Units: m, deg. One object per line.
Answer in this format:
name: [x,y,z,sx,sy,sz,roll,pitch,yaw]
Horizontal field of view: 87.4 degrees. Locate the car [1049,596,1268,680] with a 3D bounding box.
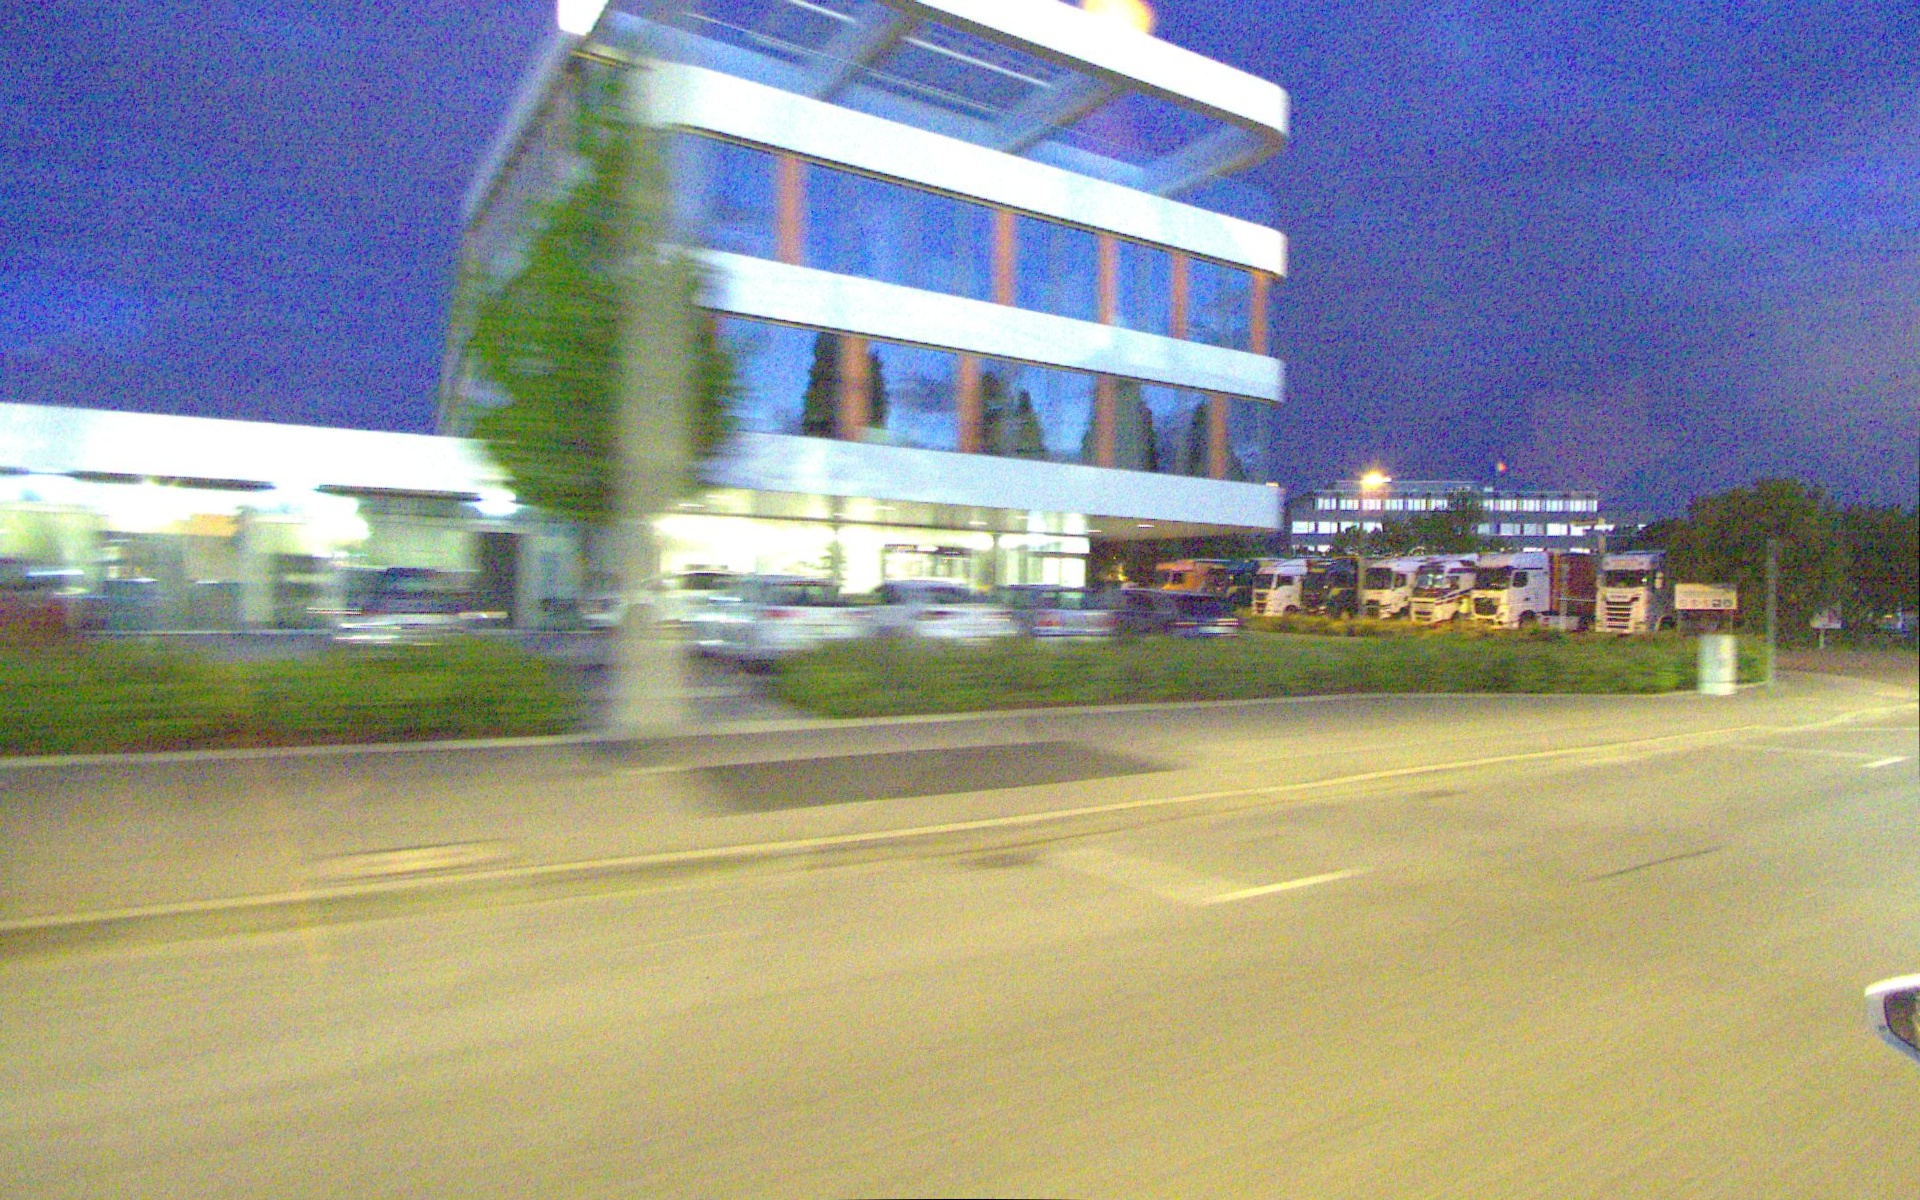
car: [3.794,0.677,20.043,2.034,1.471,4.434,1,0,-25]

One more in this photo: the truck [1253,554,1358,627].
truck: [22.019,-0.573,64.081,5.474,4.416,3.058,1,1,-16]

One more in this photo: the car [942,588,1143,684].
car: [1.430,0.604,18.960,1.819,1.600,4.114,1,0,-29]

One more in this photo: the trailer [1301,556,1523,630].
trailer: [29.907,-0.392,66.319,14.754,4.416,3.058,1,1,-16]

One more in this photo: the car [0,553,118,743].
car: [-11.068,0.462,11.009,1.938,1.840,4.385,1,-1,-29]

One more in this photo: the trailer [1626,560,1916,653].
trailer: [38.512,0.372,47.549,14.765,3.985,3.056,1,1,-18]

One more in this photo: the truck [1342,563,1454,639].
truck: [26.596,0.055,61.069,5.474,4.416,3.058,1,1,-16]

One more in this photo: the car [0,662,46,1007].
car: [-5.578,0.919,2.677,4.309,1.389,1.806,1,-2,-30]

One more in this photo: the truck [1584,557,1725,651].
truck: [31.157,0.178,45.133,4.432,3.985,3.055,1,1,-18]

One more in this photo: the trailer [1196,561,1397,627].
trailer: [24.788,-0.413,73.801,14.754,4.416,3.058,1,1,-16]

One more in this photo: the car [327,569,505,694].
car: [-7.318,0.365,13.600,1.805,1.412,4.248,1,0,-29]

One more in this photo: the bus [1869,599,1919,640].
bus: [80.084,1.575,81.669,12.463,3.247,3.012,0,0,-16]

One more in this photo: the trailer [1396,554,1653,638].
trailer: [33.043,-0.175,58.770,14.743,4.416,3.060,1,1,-13]

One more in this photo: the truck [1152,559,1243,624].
truck: [16.868,-0.573,71.550,5.474,4.416,3.058,1,1,-16]

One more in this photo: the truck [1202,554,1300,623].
truck: [19.575,-0.742,67.631,5.474,4.416,3.058,1,1,-16]

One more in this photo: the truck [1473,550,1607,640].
truck: [28.688,-0.263,49.788,4.848,4.204,3.061,1,1,-11]

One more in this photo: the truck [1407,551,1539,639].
truck: [27.254,-0.242,53.458,5.469,4.416,3.060,1,1,-12]

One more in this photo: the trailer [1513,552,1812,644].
trailer: [35.830,-0.045,51.230,14.737,4.204,3.061,1,1,-11]

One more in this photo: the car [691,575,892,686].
car: [-2.834,0.424,16.015,1.828,1.498,4.385,1,0,-29]

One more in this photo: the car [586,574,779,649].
car: [-6.664,0.264,24.168,4.151,1.663,1.985,1,1,-29]

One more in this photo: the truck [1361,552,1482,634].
truck: [26.226,-0.375,57.219,5.470,4.416,3.060,1,1,-13]

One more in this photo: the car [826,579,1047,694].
car: [-0.552,0.554,17.300,1.939,1.703,4.383,1,0,-30]

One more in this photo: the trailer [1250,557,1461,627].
trailer: [27.608,-0.498,69.924,14.754,4.416,3.058,1,1,-16]

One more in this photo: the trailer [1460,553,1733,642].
trailer: [34.970,-0.090,55.199,14.742,4.416,3.060,1,1,-13]
